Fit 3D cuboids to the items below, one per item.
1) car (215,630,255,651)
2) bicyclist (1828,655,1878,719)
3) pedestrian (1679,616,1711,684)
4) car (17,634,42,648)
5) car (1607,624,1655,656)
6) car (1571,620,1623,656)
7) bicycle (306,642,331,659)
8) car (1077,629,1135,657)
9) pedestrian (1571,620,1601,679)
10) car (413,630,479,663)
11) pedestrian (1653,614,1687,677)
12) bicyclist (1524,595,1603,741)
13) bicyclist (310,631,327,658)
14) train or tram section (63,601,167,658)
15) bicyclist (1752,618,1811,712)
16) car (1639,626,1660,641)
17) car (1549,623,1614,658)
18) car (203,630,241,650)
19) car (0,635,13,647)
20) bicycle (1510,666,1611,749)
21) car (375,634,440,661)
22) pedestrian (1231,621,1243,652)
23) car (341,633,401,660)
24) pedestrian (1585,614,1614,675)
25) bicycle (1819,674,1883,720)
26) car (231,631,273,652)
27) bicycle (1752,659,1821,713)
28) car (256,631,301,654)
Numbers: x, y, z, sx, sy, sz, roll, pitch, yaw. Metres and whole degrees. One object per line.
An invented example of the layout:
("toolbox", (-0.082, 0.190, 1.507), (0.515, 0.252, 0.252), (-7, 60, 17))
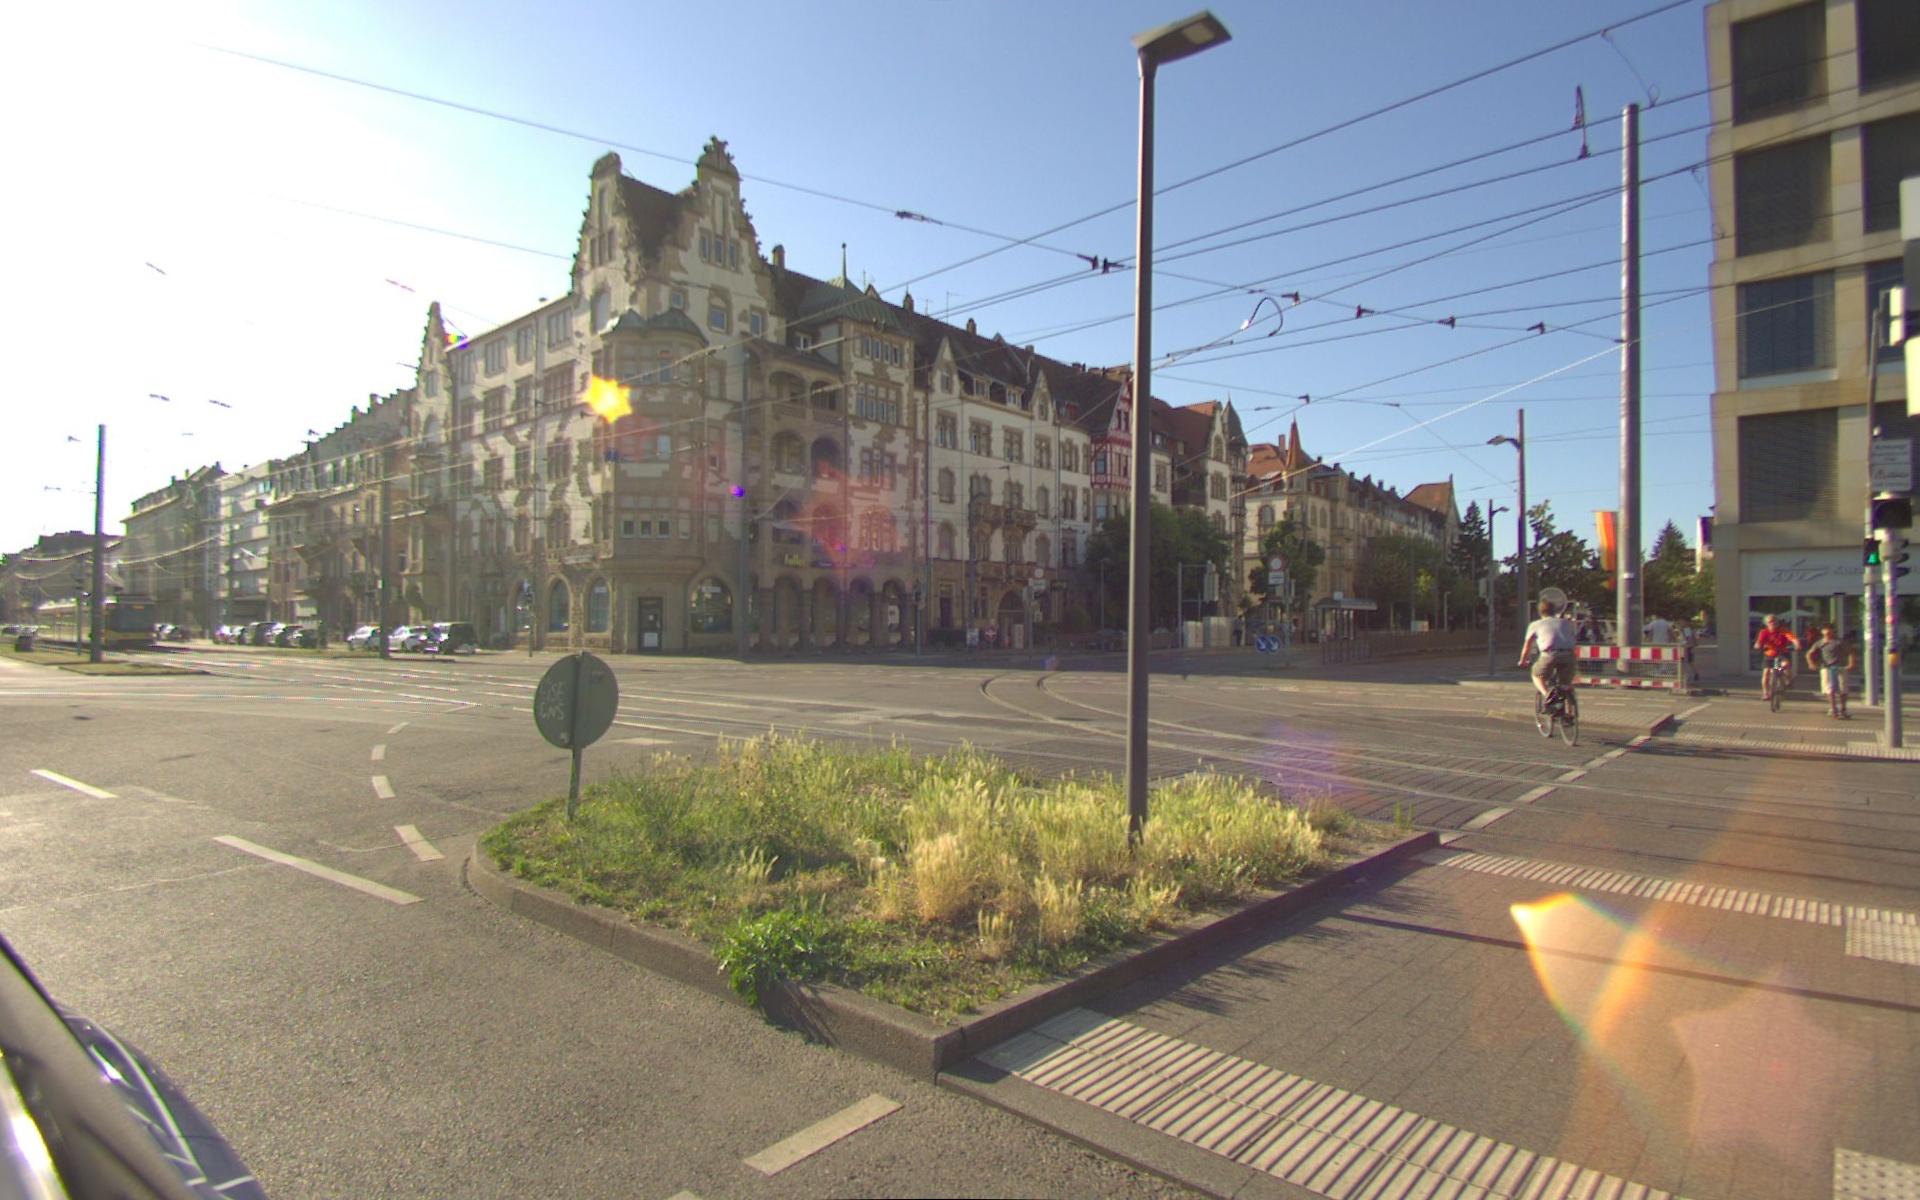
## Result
("car", (-57.232, 3.199, 79.895), (3.999, 1.536, 1.718), (-2, -1, 42))
("bicyclist", (14.557, 1.404, 16.501), (0.456, 1.001, 0.512), (1, -2, -39))
("pedestrian", (18.509, 1.245, 25.497), (0.582, 1.695, 0.609), (-2, -3, 39))
("car", (-113.033, 4.926, 122.888), (3.997, 1.682, 1.758), (-2, -2, 40))
("car", (40.224, 2.376, 60.638), (1.998, 1.837, 3.947), (-2, -2, 39))
("car", (30.610, 1.821, 48.582), (1.648, 1.674, 3.602), (-2, -2, 39))
("bicycle", (-38.191, 3.013, 60.231), (2.067, 1.010, 0.600), (-2, -2, 40))
("car", (8.793, 2.549, 60.714), (1.725, 1.586, 3.948), (-2, -2, 39))
("pedestrian", (18.048, 1.421, 29.167), (0.639, 1.695, 0.609), (-2, -2, 38))
("car", (-27.555, 2.464, 54.229), (3.997, 1.682, 1.758), (-2, -2, 40))
("pedestrian", (19.256, 1.226, 27.447), (0.607, 1.695, 0.583), (2, -3, -43))
("bicyclist", (7.763, 0.857, 13.046), (0.640, 1.821, 0.665), (-1, -2, 13))
("bicyclist", (-38.213, 2.646, 60.282), (0.629, 1.631, 0.675), (-2, -2, 38))
("train or tram section", (-58.059, 2.124, 69.209), (19.467, 3.425, 2.745), (-3, -2, 42))
("bicyclist", (14.610, 1.135, 18.003), (0.620, 1.631, 0.685), (1, -3, -40))
("car", (96.984, 4.730, 142.309), (1.998, 2.029, 3.947), (-2, -2, 39))
("car", (27.080, 1.742, 44.029), (1.889, 1.475, 3.947), (-2, -2, 39))
("car", (-60.591, 3.264, 83.038), (3.999, 1.536, 1.718), (-2, -1, 42))
("car", (-145.209, 6.196, 153.509), (3.997, 1.682, 1.758), (-2, -2, 40))
("bicycle", (7.767, 1.356, 13.169), (0.508, 0.918, 1.882), (0, -2, 11))
("car", (-31.542, 2.671, 57.715), (4.428, 1.487, 1.706), (-2, -2, 39))
("pedestrian", (15.193, 2.020, 55.540), (0.576, 1.695, 0.615), (-1, -2, 9))
("car", (-35.659, 2.800, 61.206), (3.993, 1.536, 1.721), (-2, -1, 37))
("pedestrian", (17.889, 1.235, 28.306), (0.582, 1.695, 0.609), (-2, -3, 39))
("bicycle", (14.630, 1.576, 16.601), (1.699, 0.613, 0.513), (0, -1, -39))
("car", (-53.383, 3.124, 76.255), (3.999, 1.536, 1.718), (-2, -1, 42))
("bicycle", (14.824, 1.517, 18.134), (1.861, 0.885, 0.609), (1, -2, -40))
("car", (-48.701, 3.038, 72.260), (3.999, 1.536, 1.718), (-2, -1, 42))
